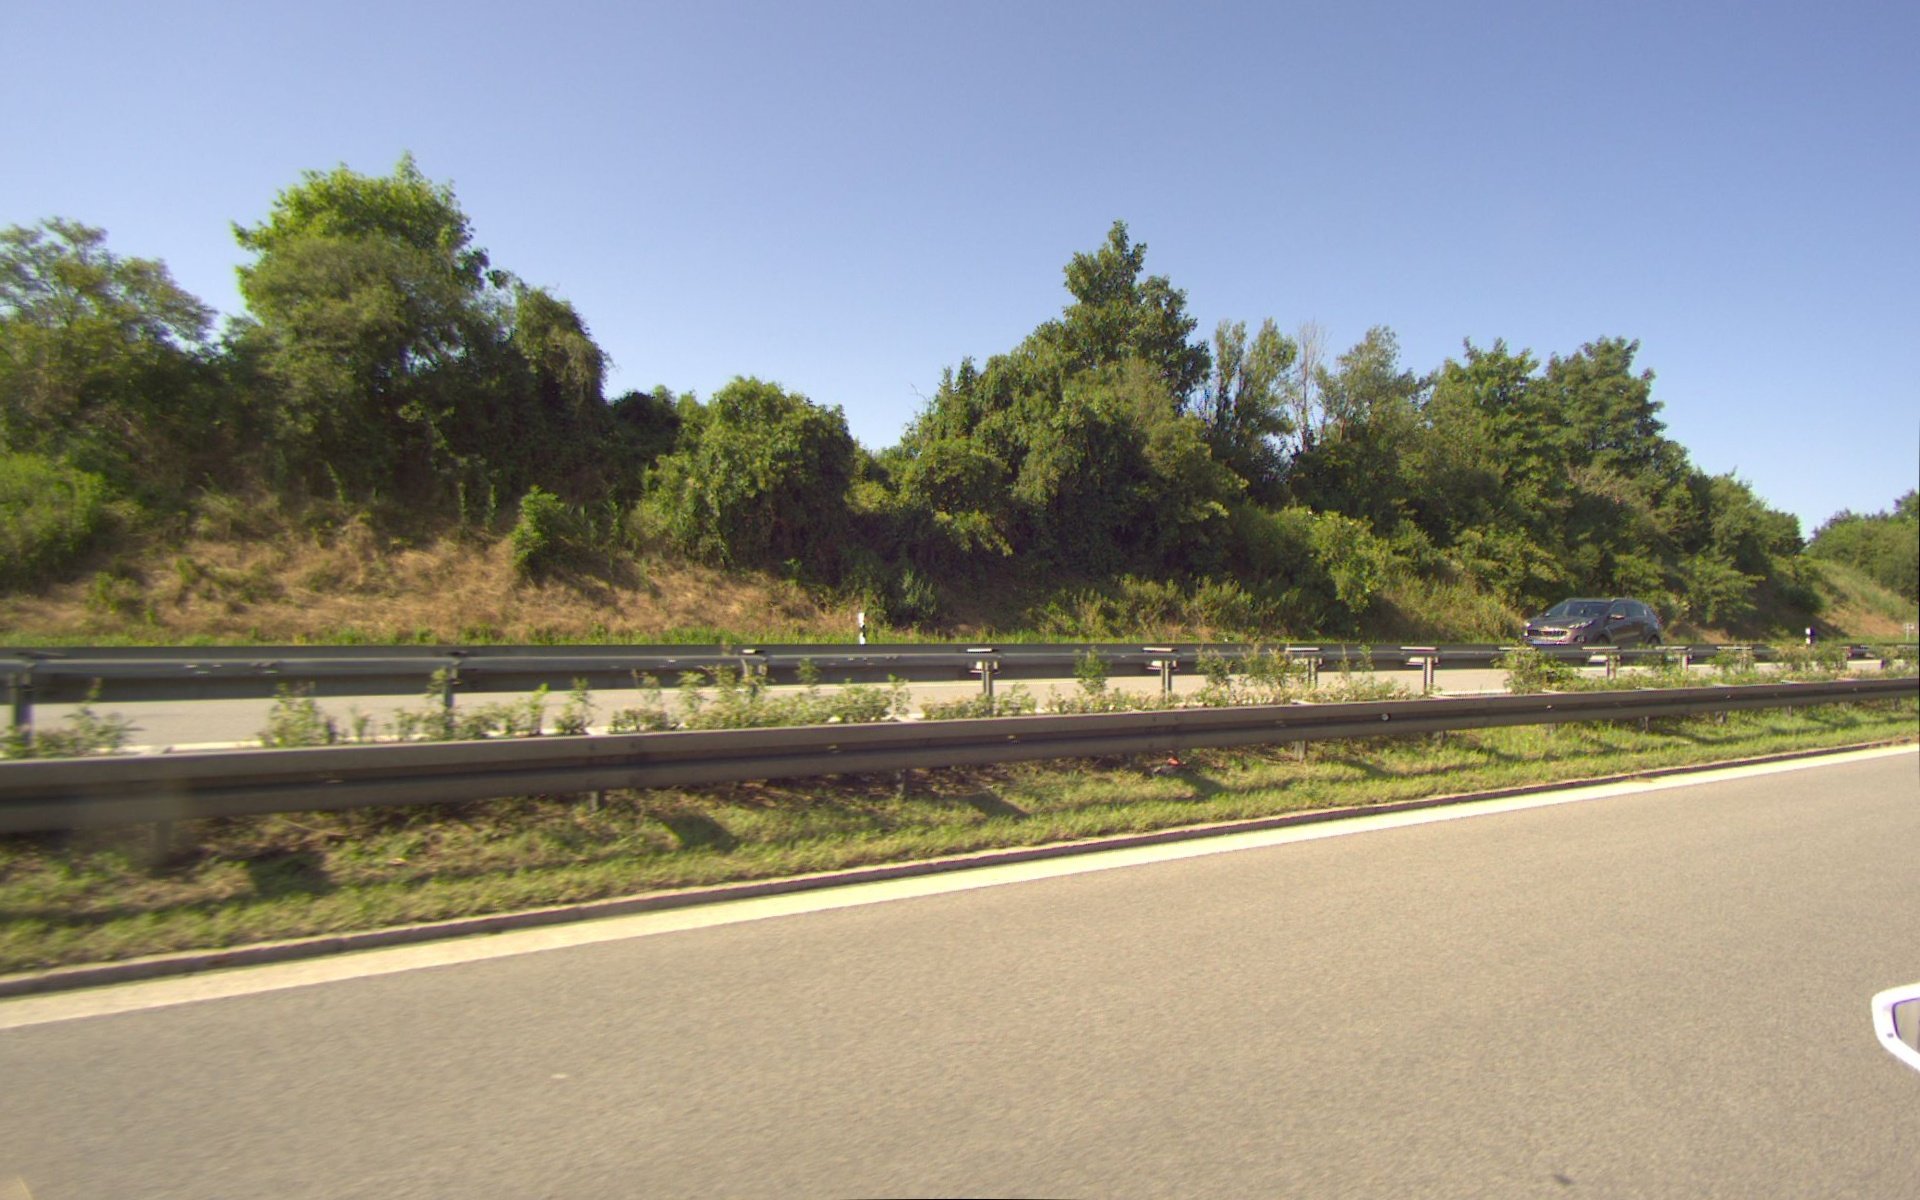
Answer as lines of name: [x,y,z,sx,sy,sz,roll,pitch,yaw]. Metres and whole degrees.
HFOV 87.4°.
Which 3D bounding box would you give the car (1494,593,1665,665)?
car: [15.653,0.723,25.317,4.386,1.673,1.982,1,-1,-33]
